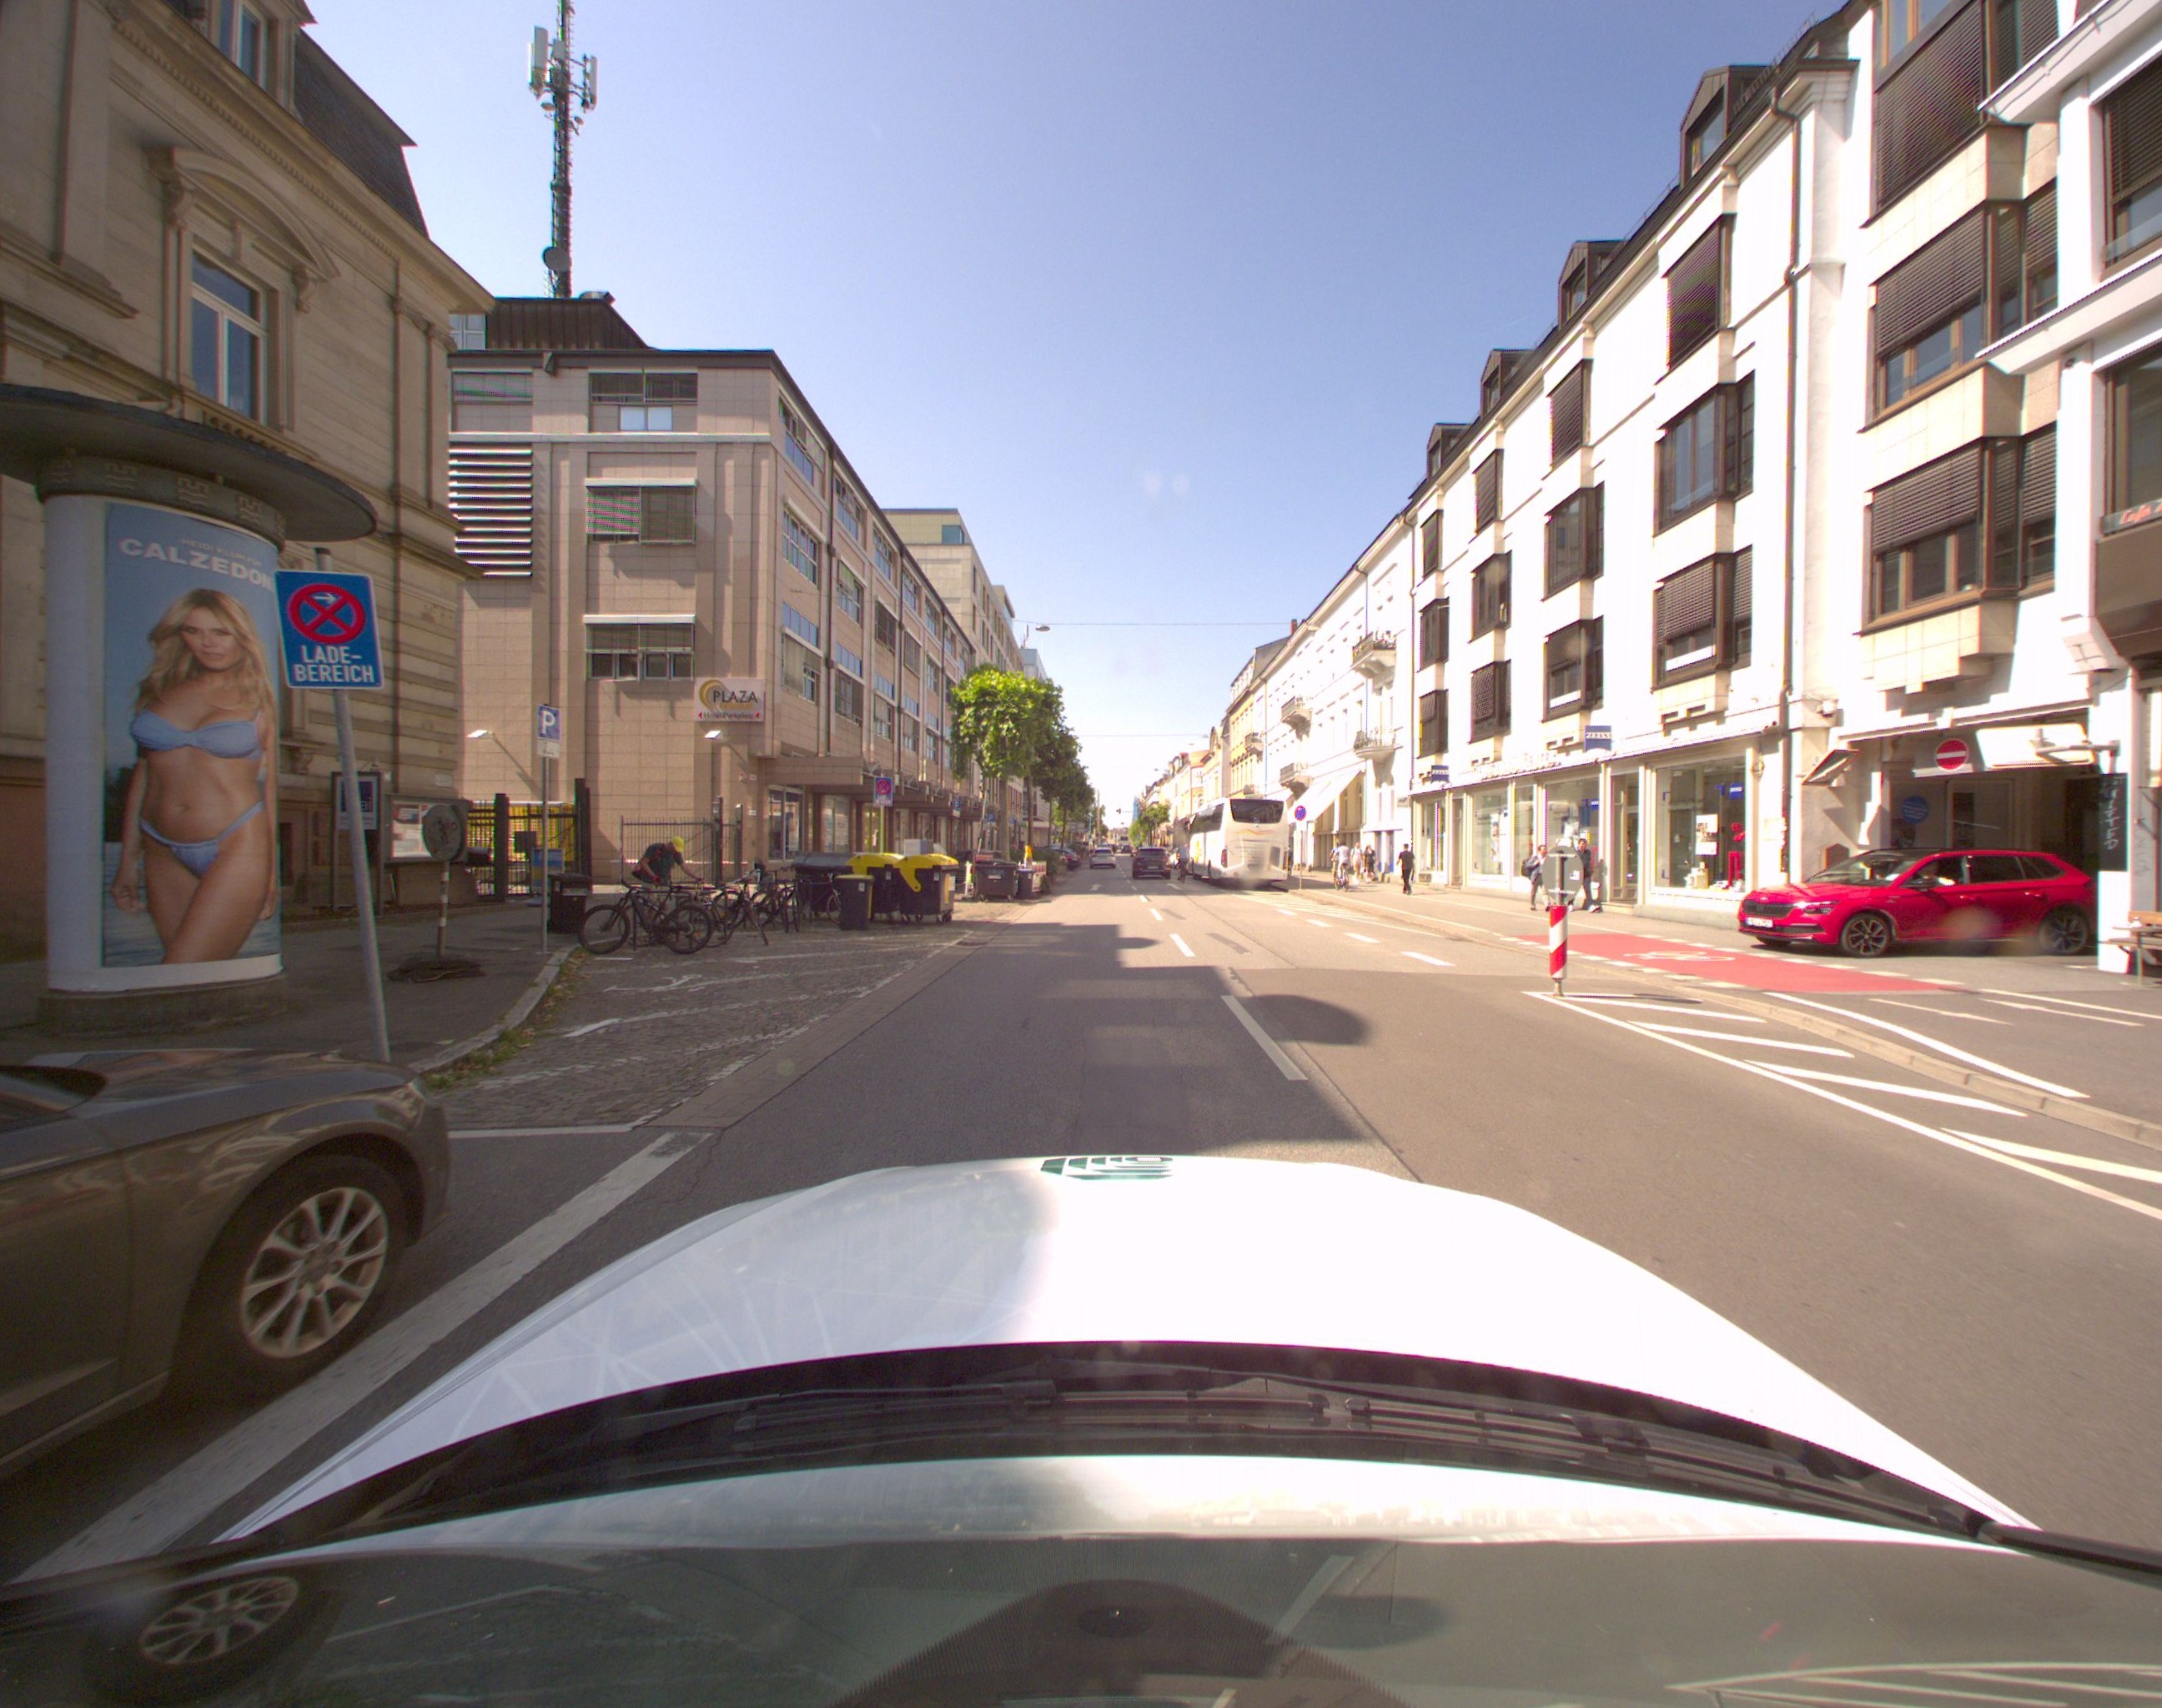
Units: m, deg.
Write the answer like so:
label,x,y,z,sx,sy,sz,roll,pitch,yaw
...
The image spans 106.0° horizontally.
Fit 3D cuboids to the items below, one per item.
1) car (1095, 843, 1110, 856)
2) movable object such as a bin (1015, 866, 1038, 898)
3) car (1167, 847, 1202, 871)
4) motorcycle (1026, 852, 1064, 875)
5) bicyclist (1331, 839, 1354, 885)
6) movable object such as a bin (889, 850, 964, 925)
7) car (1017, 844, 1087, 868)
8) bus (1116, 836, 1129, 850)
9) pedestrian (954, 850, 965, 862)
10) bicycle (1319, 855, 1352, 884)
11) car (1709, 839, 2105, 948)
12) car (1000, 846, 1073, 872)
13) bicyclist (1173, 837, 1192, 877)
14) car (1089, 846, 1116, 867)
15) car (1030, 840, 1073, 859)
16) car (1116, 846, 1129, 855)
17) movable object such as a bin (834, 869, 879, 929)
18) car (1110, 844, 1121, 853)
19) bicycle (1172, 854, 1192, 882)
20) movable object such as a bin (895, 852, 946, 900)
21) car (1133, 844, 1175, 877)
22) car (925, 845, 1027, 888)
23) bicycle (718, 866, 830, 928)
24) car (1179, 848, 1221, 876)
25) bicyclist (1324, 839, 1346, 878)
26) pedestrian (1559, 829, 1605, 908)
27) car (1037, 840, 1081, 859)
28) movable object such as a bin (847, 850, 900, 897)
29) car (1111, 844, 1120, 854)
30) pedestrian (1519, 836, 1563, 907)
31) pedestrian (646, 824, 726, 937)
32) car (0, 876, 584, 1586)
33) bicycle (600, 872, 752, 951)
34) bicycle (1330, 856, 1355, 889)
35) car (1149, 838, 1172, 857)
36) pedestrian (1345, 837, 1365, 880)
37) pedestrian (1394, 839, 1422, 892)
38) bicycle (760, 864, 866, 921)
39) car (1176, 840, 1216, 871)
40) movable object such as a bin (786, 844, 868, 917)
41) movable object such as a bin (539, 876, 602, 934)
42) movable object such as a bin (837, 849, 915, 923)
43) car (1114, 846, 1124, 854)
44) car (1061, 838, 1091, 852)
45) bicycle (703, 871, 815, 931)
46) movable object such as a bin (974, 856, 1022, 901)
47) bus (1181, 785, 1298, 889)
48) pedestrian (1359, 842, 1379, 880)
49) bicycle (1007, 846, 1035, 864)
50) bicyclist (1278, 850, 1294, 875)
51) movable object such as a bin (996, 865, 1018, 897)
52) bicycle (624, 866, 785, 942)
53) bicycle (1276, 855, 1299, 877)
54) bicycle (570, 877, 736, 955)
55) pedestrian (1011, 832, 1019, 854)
label,x,y,z,sx,sy,sz,roll,pitch,yaw
car,2.516,-0.546,96.927,1.737,1.441,4.002,0,1,1
movable object such as a bin,-1.708,0.873,25.557,0.556,0.939,0.496,-2,1,-24
car,7.319,0.318,57.897,1.807,1.466,4.579,2,2,-1
motorcycle,-1.958,0.521,44.421,1.893,1.170,0.764,1,1,22
bicyclist,9.316,0.280,29.034,0.690,1.625,0.838,0,0,10
movable object such as a bin,-3.257,0.676,17.335,1.117,1.450,1.442,2,1,7
car,-2.011,0.086,55.256,4.737,1.422,1.894,3,2,42
bus,10.858,-2.803,211.895,2.762,3.605,8.970,0,1,-1
pedestrian,-8.464,0.121,56.774,0.563,0.809,0.775,5,1,2
bicycle,10.137,0.610,32.506,0.618,1.099,2.353,1,0,0
car,12.335,0.594,12.412,4.027,1.495,1.843,-1,-2,3
car,-2.880,0.281,52.300,4.698,1.533,2.002,2,1,44
bicyclist,4.433,0.124,35.778,0.691,1.673,0.916,3,1,3
car,1.551,0.170,57.550,1.855,1.441,4.003,0,0,3
car,-2.772,-0.419,76.637,3.977,1.500,1.716,4,0,-2
car,6.242,-0.538,122.922,1.856,1.441,4.001,0,1,1
movable object such as a bin,-4.390,0.872,15.949,0.721,1.098,0.655,2,1,-6
car,5.937,-0.962,141.625,1.856,1.441,4.000,-1,-1,1
bicycle,4.412,0.587,35.653,0.662,1.120,2.245,2,1,2
movable object such as a bin,-4.696,0.629,23.922,1.204,1.299,1.080,2,1,2
car,3.509,0.280,39.952,1.826,1.527,4.002,0,0,2
car,-4.259,0.455,32.739,4.007,1.494,1.947,2,2,43
bicycle,-6.057,0.849,16.115,1.969,1.120,0.509,2,-1,-2
car,6.791,0.426,46.904,1.851,1.469,5.229,2,1,3
bicyclist,10.137,0.195,32.530,0.618,1.529,0.869,1,0,0
pedestrian,12.023,0.339,19.569,0.690,1.851,0.838,0,-1,10
car,-2.258,-0.449,83.022,3.951,1.568,1.710,6,1,27
movable object such as a bin,-6.085,0.560,23.996,1.204,1.299,1.128,2,1,2
car,7.302,-1.088,174.801,1.856,1.849,4.000,-1,-1,1
pedestrian,11.186,0.424,19.832,0.690,1.685,0.838,0,0,10
pedestrian,-6.189,0.406,12.811,0.887,1.725,0.747,1,0,-5
car,-3.148,0.800,1.360,1.929,1.354,4.251,0,1,1
bicycle,-6.165,0.872,12.483,1.959,1.120,0.555,3,-1,-10
bicycle,9.357,0.642,29.203,0.591,1.120,1.806,0,1,10
car,7.155,-0.570,73.765,1.826,1.527,4.001,-1,-1,1
pedestrian,11.546,0.213,34.300,0.570,1.778,1.021,0,-1,5
pedestrian,10.810,0.394,26.941,0.617,1.720,0.836,0,-2,4
bicycle,-5.493,0.786,16.740,1.962,1.120,0.509,1,-1,-2
car,7.340,0.075,52.432,1.822,1.863,4.352,2,1,-2
movable object such as a bin,-5.504,0.545,17.731,1.202,1.450,1.367,2,1,7
movable object such as a bin,-7.947,0.782,12.697,0.654,0.876,0.510,0,-1,-6
movable object such as a bin,-4.372,0.644,17.468,1.117,1.450,1.442,2,1,7
car,7.461,-0.822,160.457,1.856,1.441,4.000,-1,-1,1
car,-0.793,-1.446,130.219,4.666,2.003,1.953,4,0,42
bicycle,-5.975,0.872,15.168,1.838,1.073,0.556,0,-3,-2
movable object such as a bin,-2.430,0.709,24.041,1.272,1.299,0.854,1,0,2
bus,6.666,-0.678,36.516,2.871,3.741,12.429,2,0,1
pedestrian,12.412,0.303,35.088,0.642,1.617,0.823,0,-1,5
bicycle,-4.519,0.080,61.738,2.062,1.288,0.367,3,0,-6
bicyclist,10.699,0.428,42.447,0.618,1.296,0.867,1,0,0
movable object such as a bin,-2.292,0.835,25.323,0.495,0.939,0.558,-1,1,18
bicycle,-6.028,0.805,13.137,2.235,1.120,0.555,3,-1,-10
bicycle,10.697,0.627,42.317,0.618,1.099,2.353,1,0,0
bicycle,-6.126,0.884,11.759,1.962,1.017,0.669,3,-1,-10
pedestrian,-5.001,-0.829,61.789,0.564,1.657,0.636,0,0,-3
